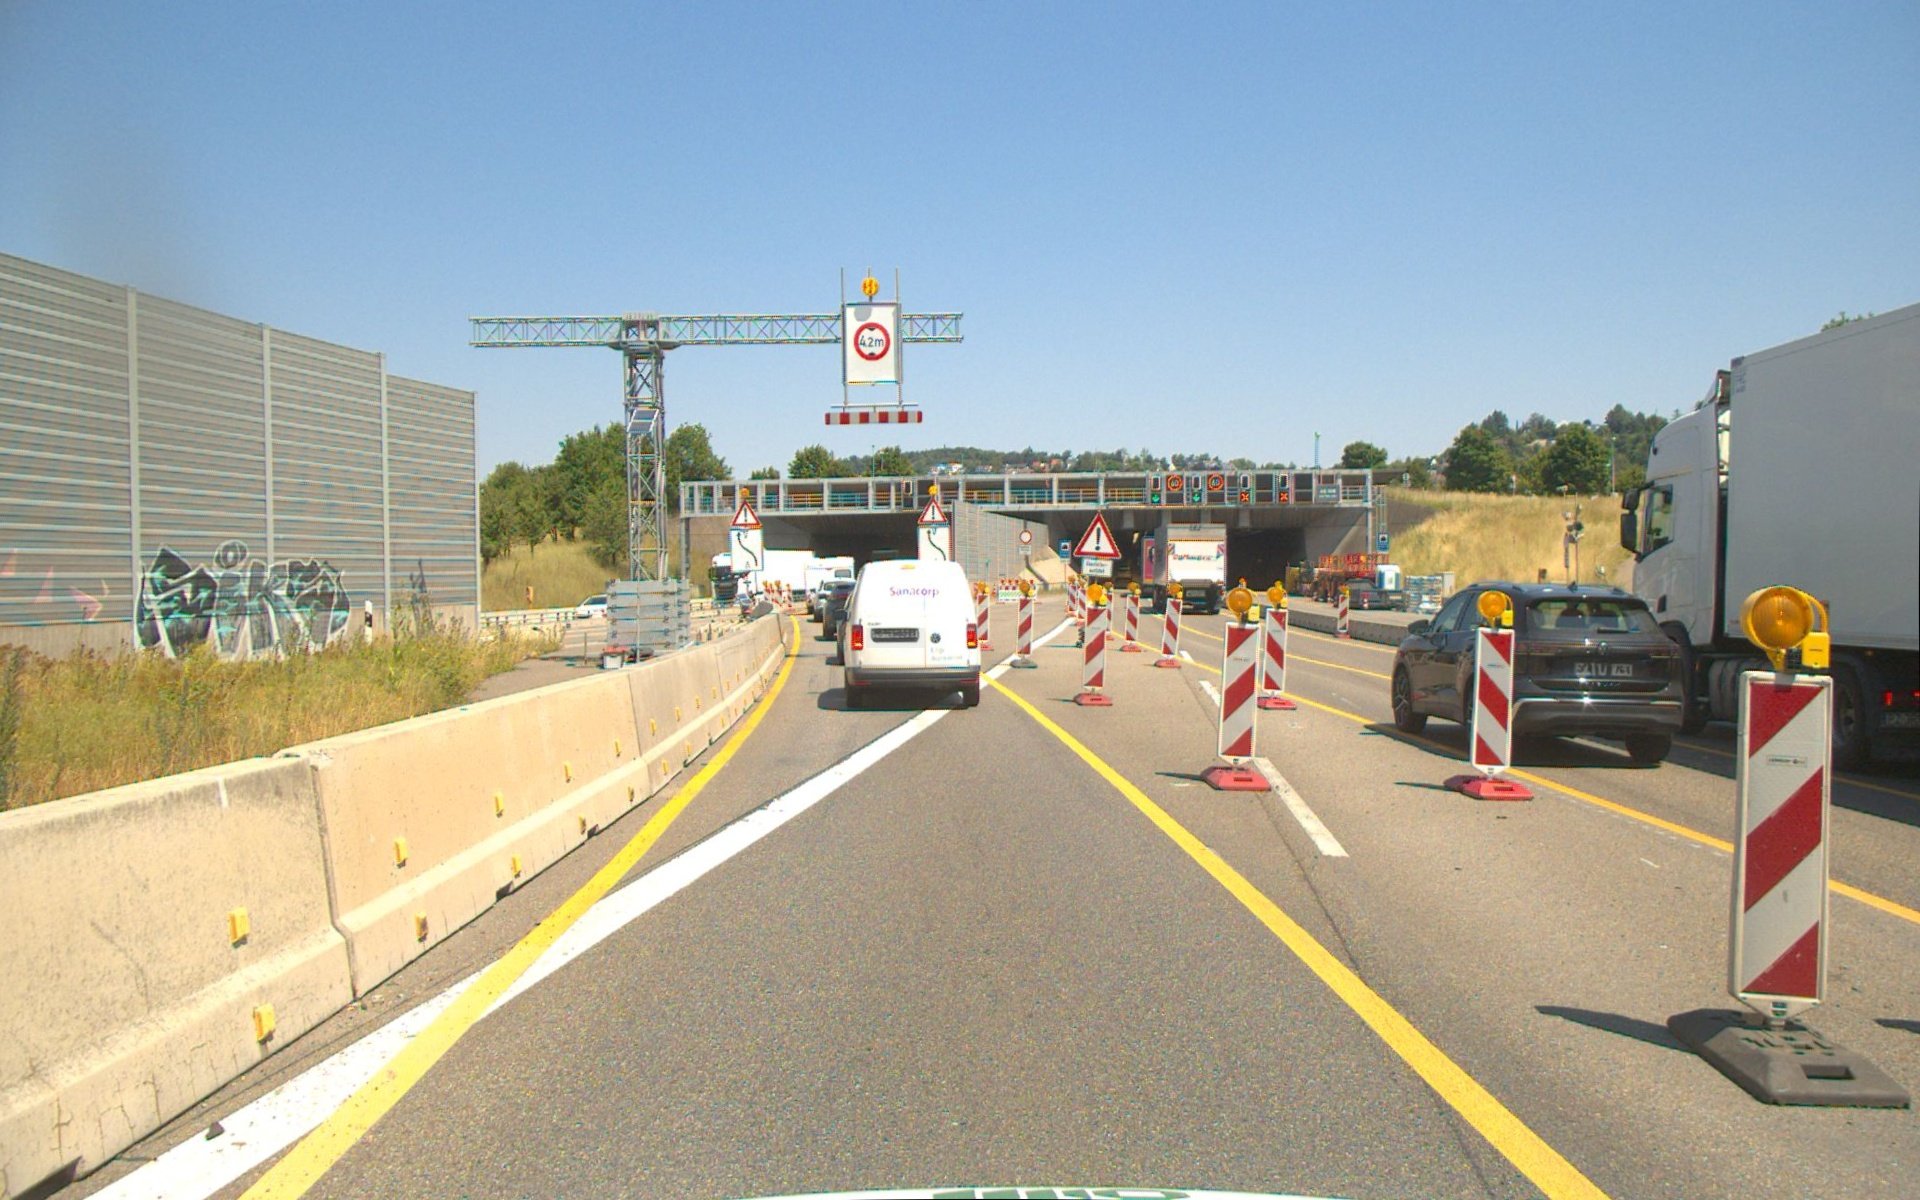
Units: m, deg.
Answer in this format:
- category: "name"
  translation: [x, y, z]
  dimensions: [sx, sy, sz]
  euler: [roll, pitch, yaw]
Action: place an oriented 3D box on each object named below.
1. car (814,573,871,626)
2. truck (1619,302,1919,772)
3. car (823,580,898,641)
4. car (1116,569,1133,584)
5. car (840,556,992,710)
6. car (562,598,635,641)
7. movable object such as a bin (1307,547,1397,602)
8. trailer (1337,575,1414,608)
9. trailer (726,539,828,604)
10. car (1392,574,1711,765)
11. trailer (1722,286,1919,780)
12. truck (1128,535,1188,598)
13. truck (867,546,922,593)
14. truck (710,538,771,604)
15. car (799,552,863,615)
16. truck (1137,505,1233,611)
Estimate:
- category: "car"
  translation: [-4.401, -0.027, 61.572]
  dimensions: [1.775, 1.846, 4.401]
  euler: [-2, 1, -8]
- category: "truck"
  translation: [9.436, -0.559, 17.413]
  dimensions: [2.688, 4.104, 5.927]
  euler: [1, 0, 1]
- category: "car"
  translation: [-2.805, 0.264, 45.867]
  dimensions: [1.774, 1.564, 4.403]
  euler: [-2, 1, -7]
- category: "car"
  translation: [18.841, -2.663, 189.159]
  dimensions: [1.777, 1.658, 4.192]
  euler: [1, 0, 4]
- category: "car"
  translation: [-0.670, 0.386, 21.989]
  dimensions: [1.773, 1.825, 3.727]
  euler: [-2, 1, -5]
- category: "car"
  translation: [-17.785, 0.956, 81.591]
  dimensions: [1.951, 2.049, 4.003]
  euler: [1, 0, 13]
- category: "movable object such as a bin"
  translation: [24.361, -1.554, 103.680]
  dimensions: [3.046, 3.063, 14.709]
  euler: [-2, 0, 4]
- category: "trailer"
  translation: [22.322, -0.501, 89.164]
  dimensions: [2.541, 1.596, 6.236]
  euler: [-2, 1, 0]
- category: "trailer"
  translation: [-13.521, -2.120, 123.913]
  dimensions: [2.607, 4.578, 14.942]
  euler: [1, 1, 14]
- category: "car"
  translation: [5.761, 0.600, 16.677]
  dimensions: [1.777, 1.658, 4.191]
  euler: [1, 0, 1]
- category: "trailer"
  translation: [9.269, -0.532, 10.507]
  dimensions: [2.676, 4.133, 14.098]
  euler: [1, 0, 2]
- category: "truck"
  translation: [13.830, -2.244, 116.751]
  dimensions: [3.330, 4.142, 16.545]
  euler: [1, 0, 4]
- category: "truck"
  translation: [-6.116, -2.800, 155.751]
  dimensions: [3.471, 4.345, 5.783]
  euler: [0, 0, 17]
- category: "truck"
  translation: [-15.381, -2.035, 116.373]
  dimensions: [2.607, 4.578, 4.847]
  euler: [1, 1, 14]
- category: "car"
  translation: [-6.154, -0.727, 77.991]
  dimensions: [2.760, 2.822, 7.091]
  euler: [0, 0, -6]
- category: "truck"
  translation: [10.368, -1.745, 77.991]
  dimensions: [3.330, 4.411, 16.544]
  euler: [1, 0, 4]
